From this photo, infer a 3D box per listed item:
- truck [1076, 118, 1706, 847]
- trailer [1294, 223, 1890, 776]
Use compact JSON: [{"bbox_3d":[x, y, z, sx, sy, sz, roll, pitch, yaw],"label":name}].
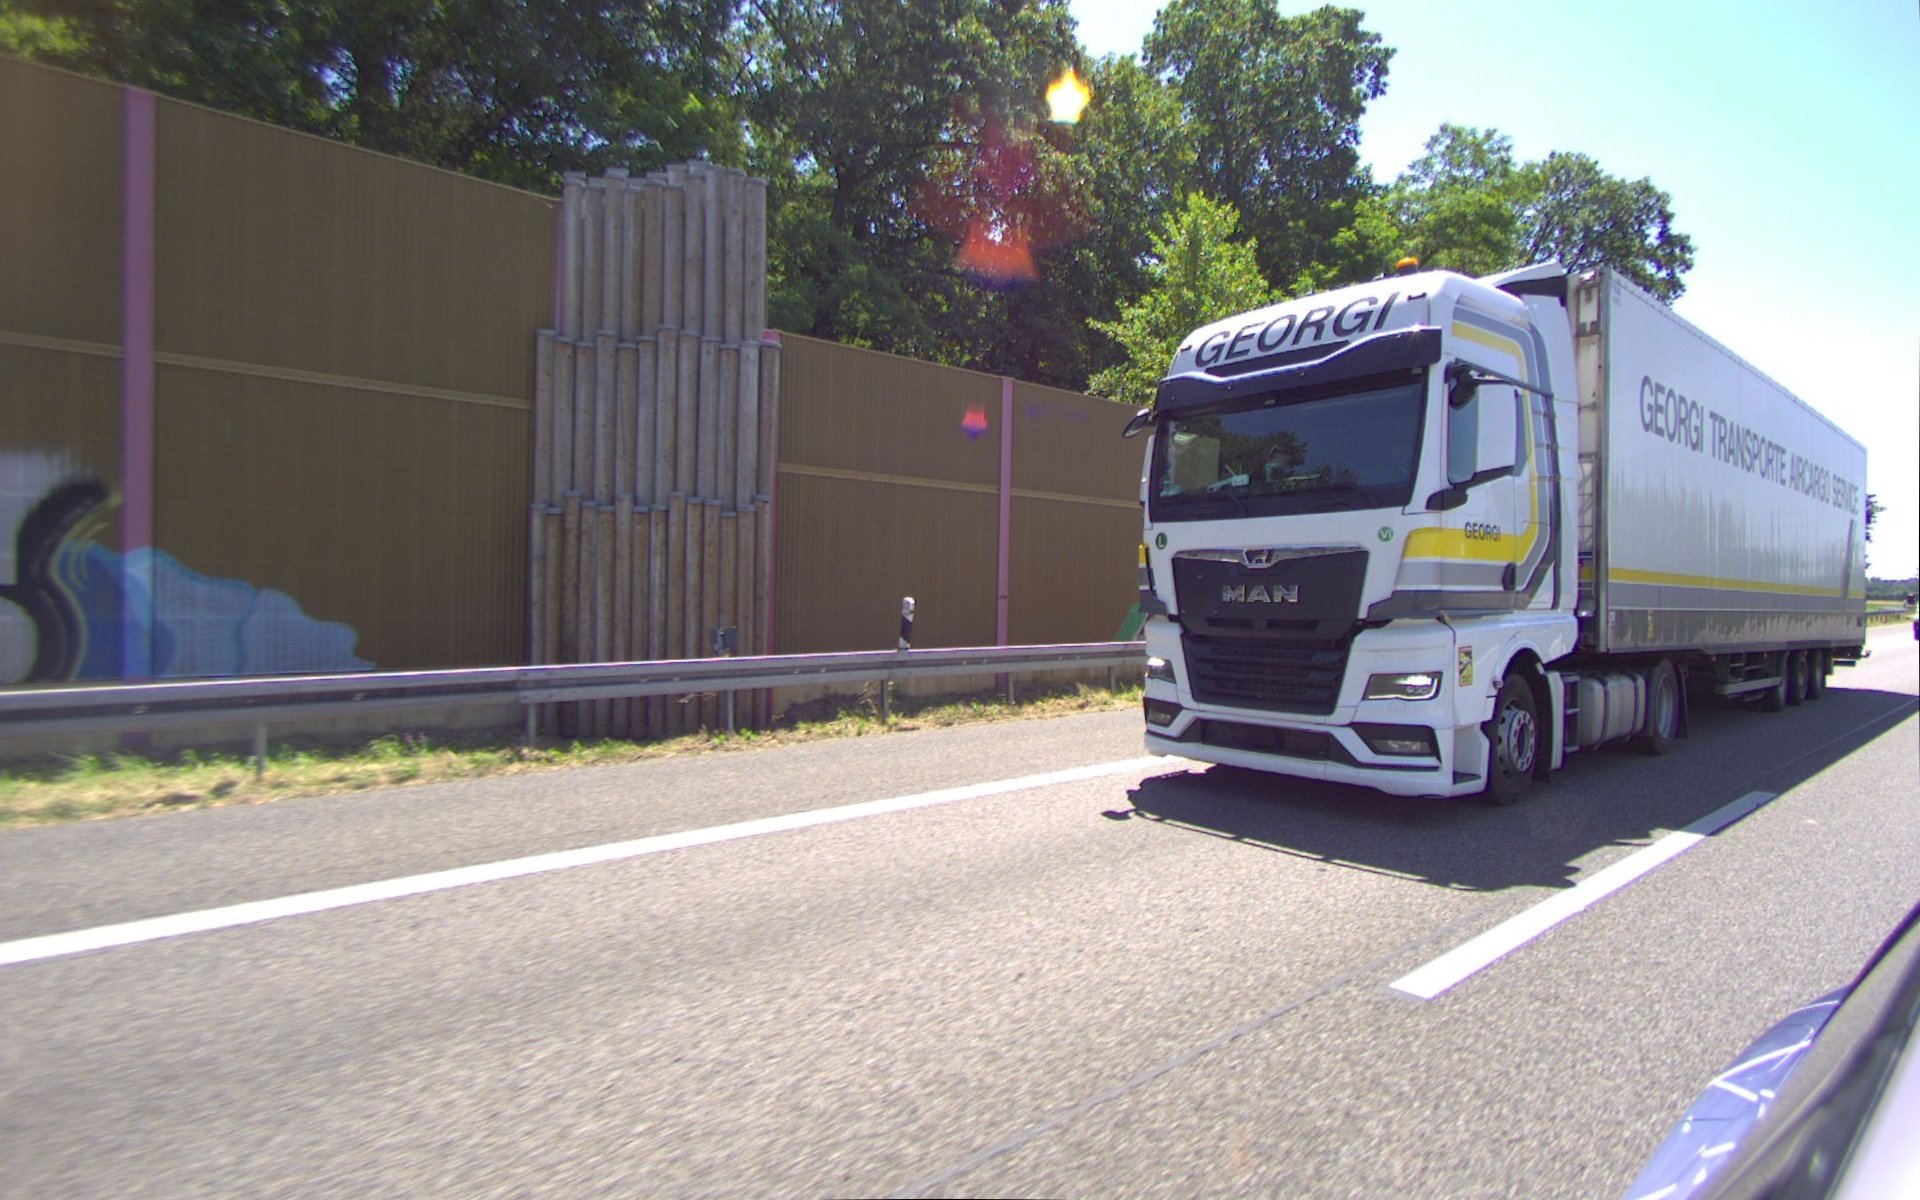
[{"bbox_3d":[3.850,-0.722,8.647,5.161,4.176,3.008,-1,1,-41],"label":"truck"},{"bbox_3d":[9.316,-0.840,13.422,13.183,4.343,2.999,0,0,-41],"label":"trailer"}]
